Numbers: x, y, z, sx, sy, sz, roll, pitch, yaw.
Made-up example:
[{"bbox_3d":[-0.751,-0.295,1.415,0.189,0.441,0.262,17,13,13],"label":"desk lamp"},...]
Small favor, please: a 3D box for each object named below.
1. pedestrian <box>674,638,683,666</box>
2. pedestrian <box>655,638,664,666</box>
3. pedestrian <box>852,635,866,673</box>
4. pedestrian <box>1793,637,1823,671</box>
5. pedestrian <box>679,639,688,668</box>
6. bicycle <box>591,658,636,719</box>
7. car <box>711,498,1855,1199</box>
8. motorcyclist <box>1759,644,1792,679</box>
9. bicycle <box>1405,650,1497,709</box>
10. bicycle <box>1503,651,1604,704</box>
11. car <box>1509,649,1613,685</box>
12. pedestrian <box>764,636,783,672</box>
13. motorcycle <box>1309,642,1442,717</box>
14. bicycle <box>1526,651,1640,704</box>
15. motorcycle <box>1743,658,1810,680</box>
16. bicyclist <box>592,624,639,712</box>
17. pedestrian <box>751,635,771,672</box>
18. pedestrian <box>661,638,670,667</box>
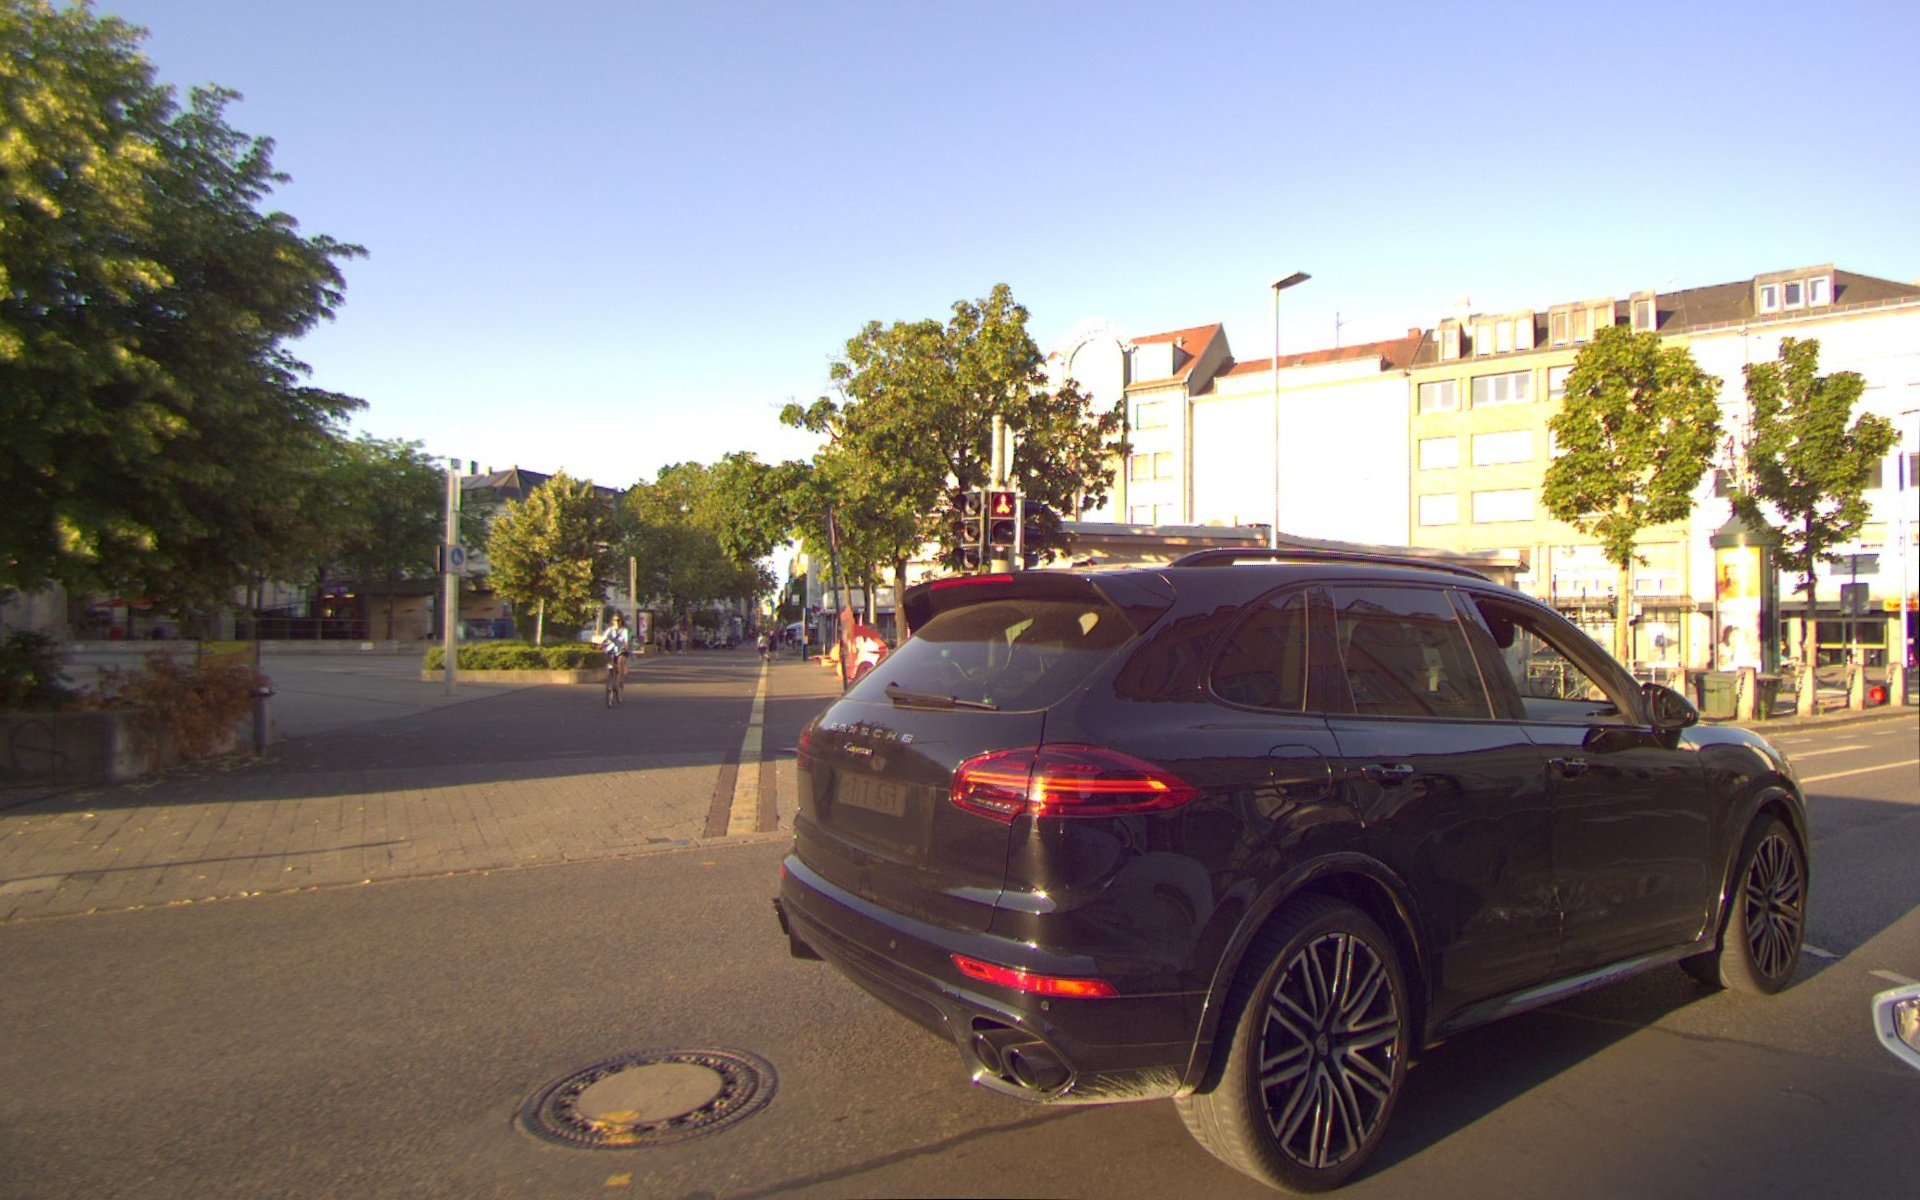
[{"bbox_3d":[-20.508,3.790,73.088,0.563,2.040,0.394,1,-2,-21],"label":"pedestrian"},{"bbox_3d":[-21.555,3.742,72.094,0.563,2.040,0.394,1,-2,-21],"label":"pedestrian"},{"bbox_3d":[-5.623,3.001,55.828,0.648,2.040,0.811,1,-1,-1],"label":"pedestrian"},{"bbox_3d":[39.283,2.507,46.561,0.933,1.557,0.906,-1,-2,34],"label":"pedestrian"},{"bbox_3d":[-19.883,3.822,72.185,0.563,2.040,0.394,1,-2,-21],"label":"pedestrian"},{"bbox_3d":[-6.990,1.760,20.343,0.693,1.132,1.916,1,-2,-14],"label":"bicycle"},{"bbox_3d":[1.512,0.749,4.014,4.512,1.736,1.938,1,-3,-33],"label":"car"},{"bbox_3d":[32.609,2.448,40.162,0.981,1.337,0.763,-1,-2,45],"label":"motorcyclist"},{"bbox_3d":[11.182,1.793,22.938,0.625,1.273,1.845,1,-2,-30],"label":"bicycle"},{"bbox_3d":[15.000,1.936,25.423,0.938,1.273,1.996,1,-2,-30],"label":"bicycle"},{"bbox_3d":[27.884,3.078,46.613,3.938,1.505,1.992,-1,-2,38],"label":"car"},{"bbox_3d":[-10.679,3.066,57.490,0.650,2.040,0.809,1,-1,33],"label":"pedestrian"},{"bbox_3d":[8.581,1.603,20.896,0.858,1.448,2.569,1,-2,-30],"label":"motorcycle"},{"bbox_3d":[16.082,1.977,25.998,0.778,1.273,2.432,1,-2,-30],"label":"bicycle"},{"bbox_3d":[32.639,2.745,40.179,0.659,0.791,2.007,2,-3,-43],"label":"motorcycle"},{"bbox_3d":[-6.960,1.360,20.344,0.841,1.747,0.776,1,-2,-16],"label":"bicyclist"},{"bbox_3d":[-11.275,3.022,56.884,0.650,2.040,0.809,0,-1,34],"label":"pedestrian"},{"bbox_3d":[-21.050,3.746,71.839,0.563,2.040,0.394,1,-2,-21],"label":"pedestrian"}]
